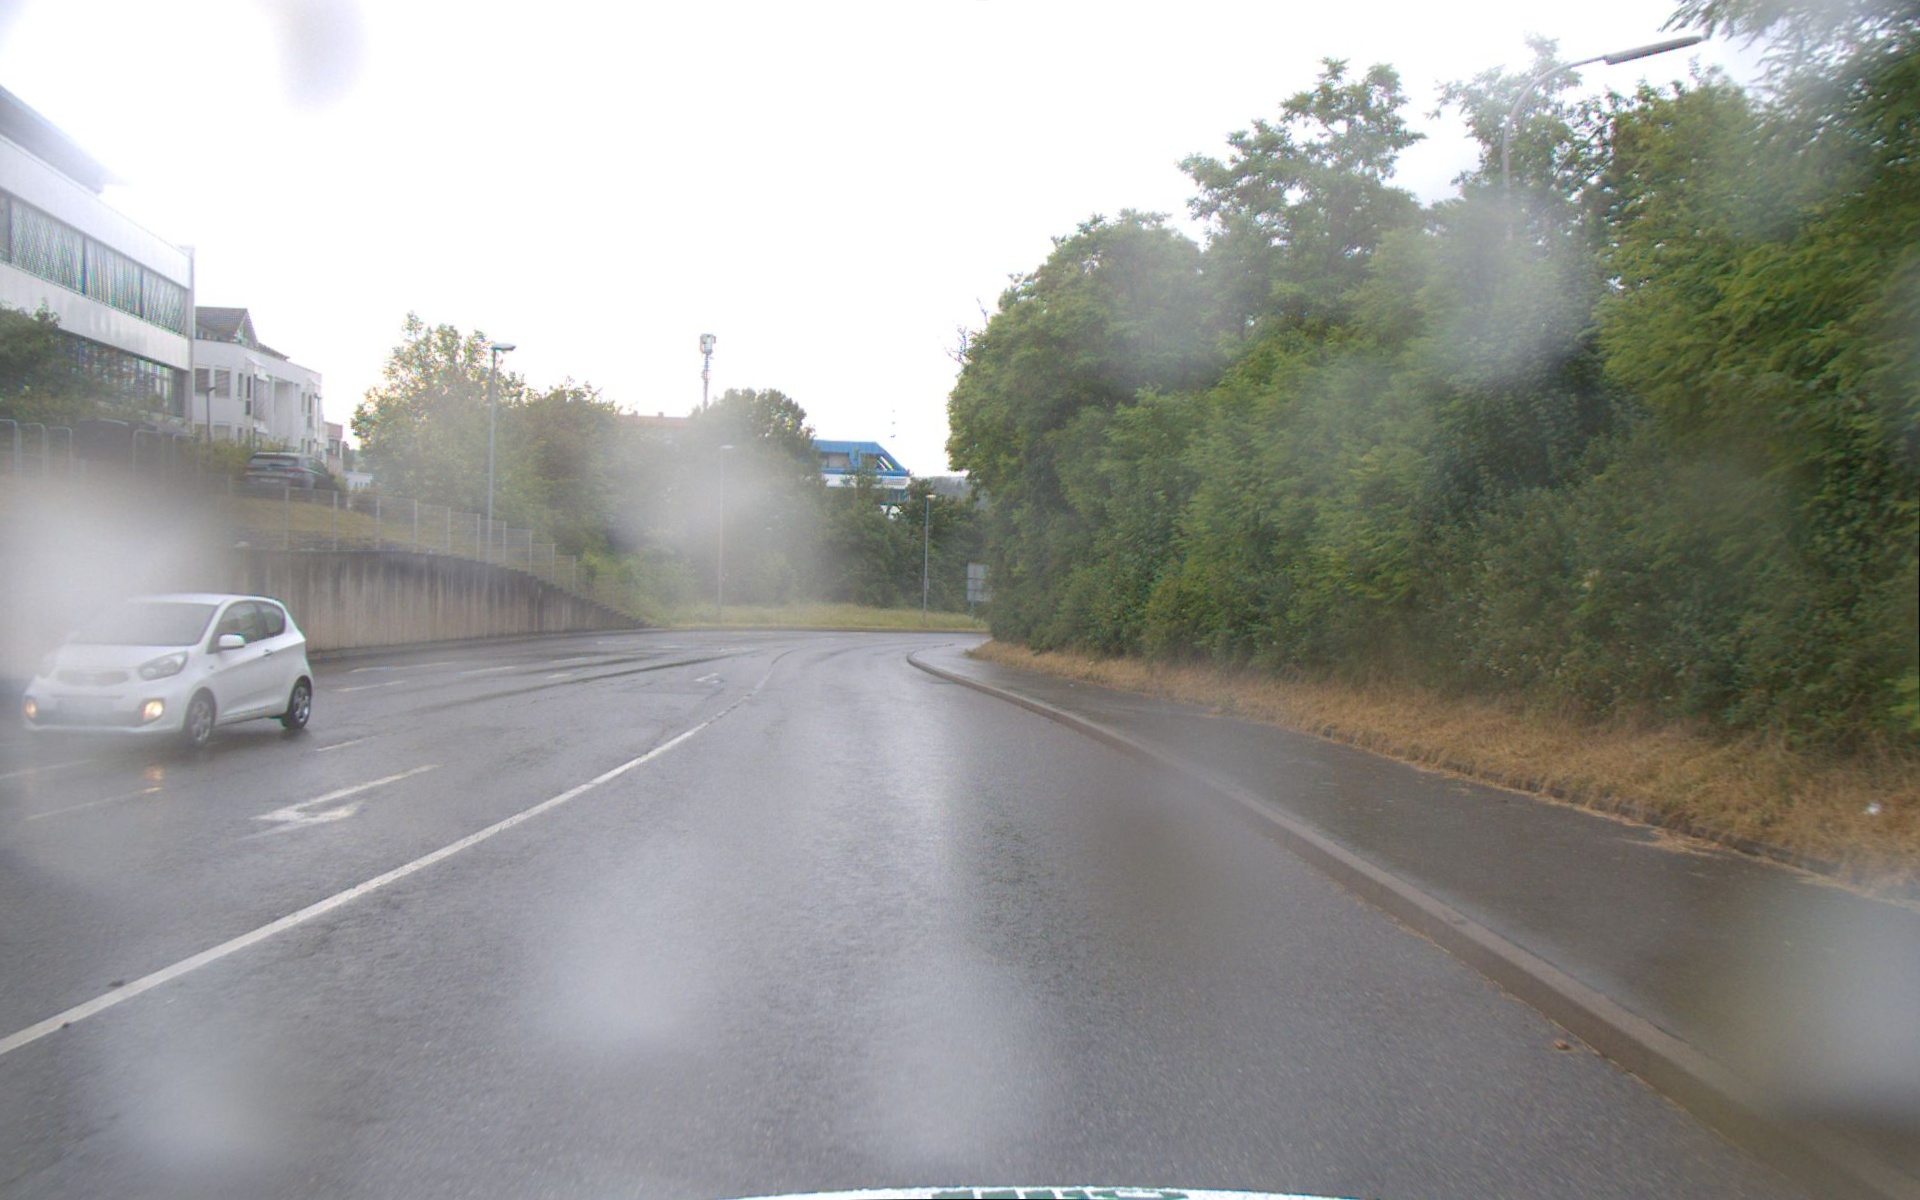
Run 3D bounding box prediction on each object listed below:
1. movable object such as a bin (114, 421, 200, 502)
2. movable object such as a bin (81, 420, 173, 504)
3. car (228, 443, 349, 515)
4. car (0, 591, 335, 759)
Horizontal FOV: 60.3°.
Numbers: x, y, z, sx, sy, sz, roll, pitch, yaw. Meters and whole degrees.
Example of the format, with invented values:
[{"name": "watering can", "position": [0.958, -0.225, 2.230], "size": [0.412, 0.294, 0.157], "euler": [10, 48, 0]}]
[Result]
[{"name": "movable object such as a bin", "position": [-16.225, -2.792, 33.465], "size": [1.063, 1.462, 1.445], "euler": [3, 0, -6]}, {"name": "movable object such as a bin", "position": [-16.101, -2.654, 32.013], "size": [1.063, 1.462, 1.445], "euler": [3, 0, -6]}, {"name": "car", "position": [-17.309, -3.086, 42.830], "size": [1.792, 1.467, 3.995], "euler": [3, 0, -6]}, {"name": "car", "position": [-8.046, 0.684, 17.140], "size": [1.619, 1.454, 3.794], "euler": [1, 1, 1]}]
